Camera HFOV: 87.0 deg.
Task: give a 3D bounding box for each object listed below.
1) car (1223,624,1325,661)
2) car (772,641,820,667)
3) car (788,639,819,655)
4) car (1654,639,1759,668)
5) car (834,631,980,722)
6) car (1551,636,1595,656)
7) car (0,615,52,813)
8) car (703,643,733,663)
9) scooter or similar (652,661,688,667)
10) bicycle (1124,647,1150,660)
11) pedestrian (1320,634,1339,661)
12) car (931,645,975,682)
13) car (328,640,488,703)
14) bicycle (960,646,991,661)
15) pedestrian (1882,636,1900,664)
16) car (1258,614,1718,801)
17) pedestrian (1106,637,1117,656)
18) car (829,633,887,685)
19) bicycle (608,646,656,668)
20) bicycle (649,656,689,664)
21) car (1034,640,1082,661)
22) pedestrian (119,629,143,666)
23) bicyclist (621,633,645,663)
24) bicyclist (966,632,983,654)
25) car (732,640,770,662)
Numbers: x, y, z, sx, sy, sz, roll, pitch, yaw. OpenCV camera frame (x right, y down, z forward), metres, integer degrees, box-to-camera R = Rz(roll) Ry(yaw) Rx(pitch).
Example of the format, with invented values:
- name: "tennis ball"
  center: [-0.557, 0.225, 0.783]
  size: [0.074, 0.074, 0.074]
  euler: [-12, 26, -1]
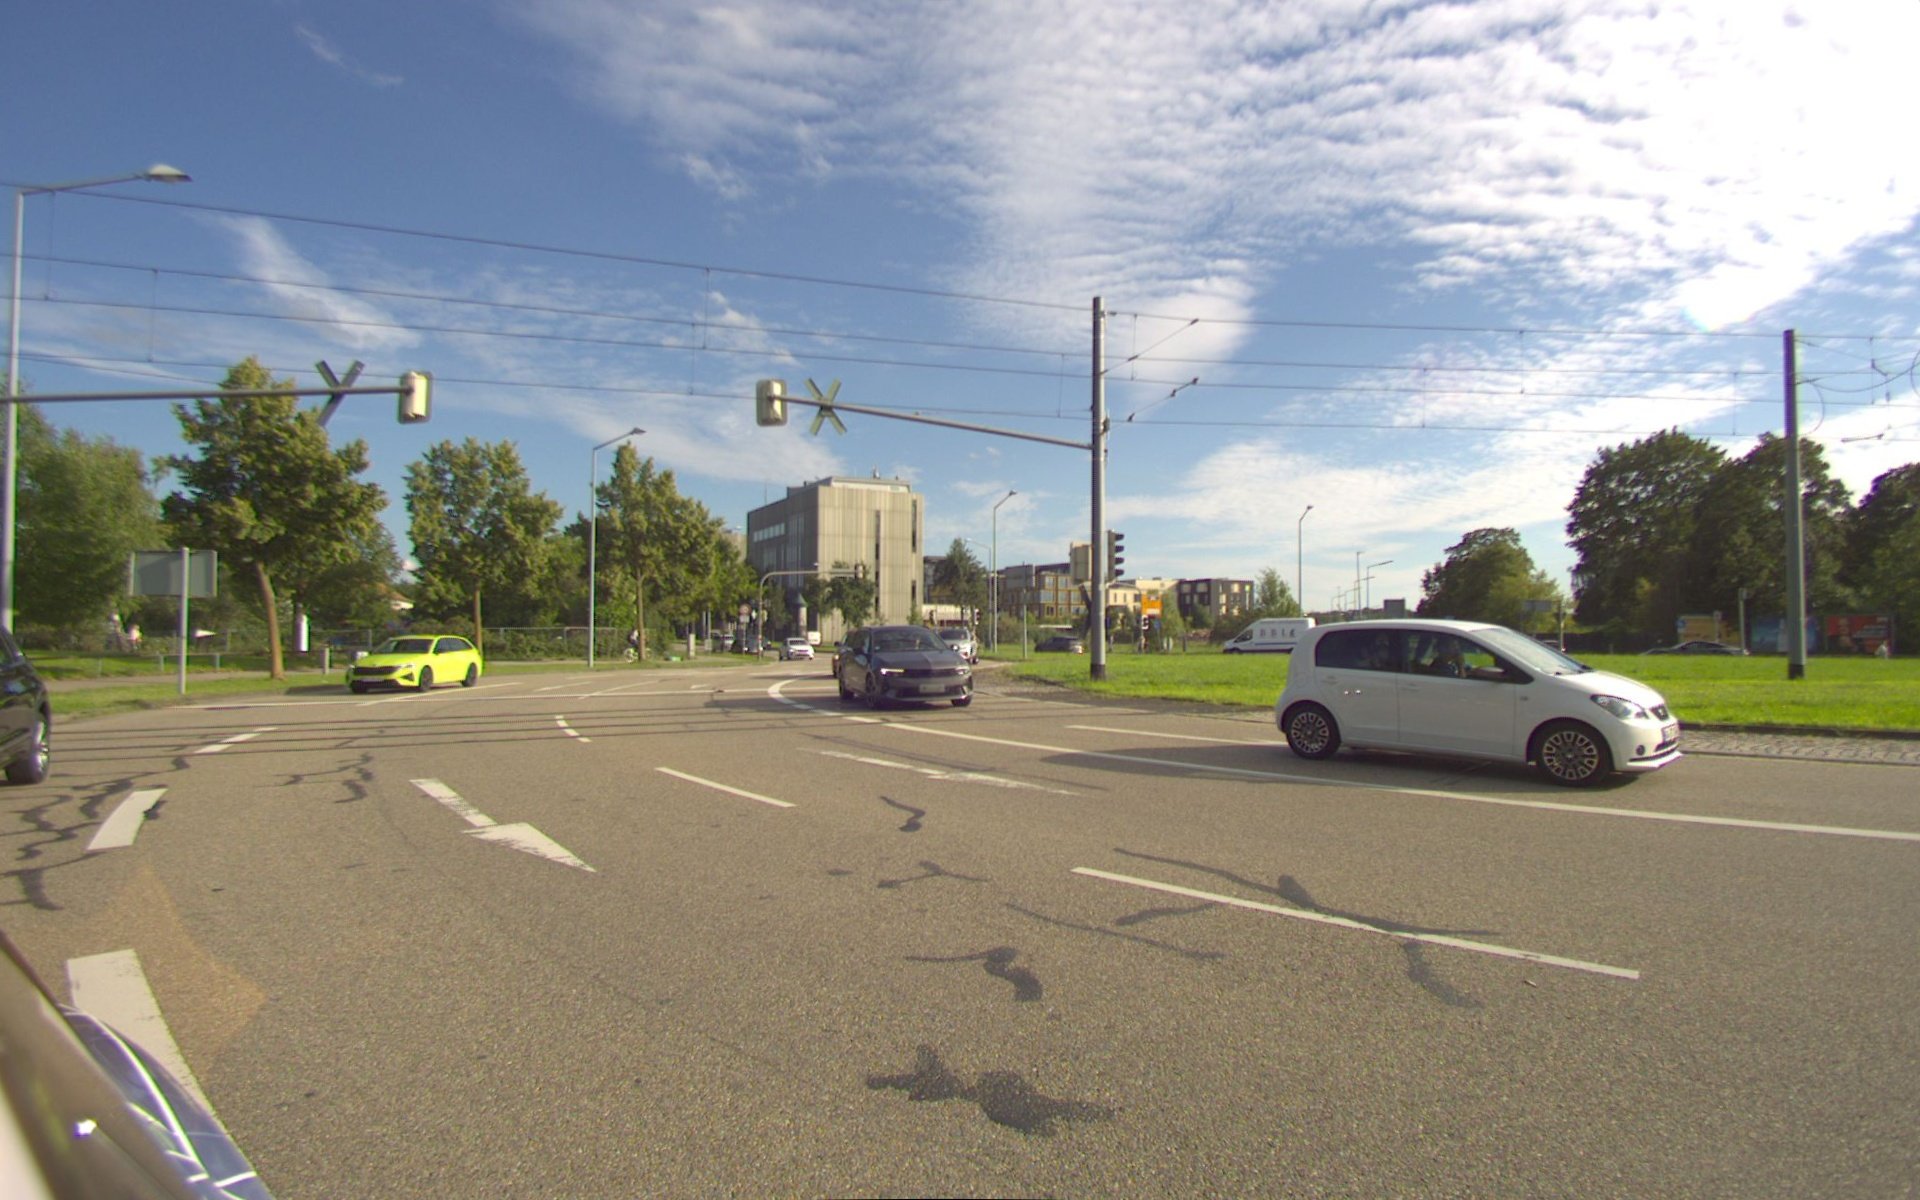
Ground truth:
- name: "car"
  center: [20.288, 2.742, 65.475]
  size: [5.998, 2.281, 2.045]
  euler: [-1, -4, 30]
- name: "car"
  center: [-11.118, 3.589, 68.369]
  size: [1.965, 1.674, 4.819]
  euler: [1, -2, -25]
- name: "car"
  center: [-18.215, 5.462, 117.799]
  size: [1.657, 1.839, 4.573]
  euler: [4, -4, -34]
- name: "car"
  center: [35.627, 2.542, 48.378]
  size: [3.988, 1.275, 1.664]
  euler: [-1, -5, 38]
- name: "car"
  center: [-1.114, 1.309, 18.711]
  size: [1.794, 1.431, 4.459]
  euler: [-1, -2, -15]
- name: "car"
  center: [49.705, 3.709, 82.104]
  size: [1.667, 1.513, 3.982]
  euler: [-1, -1, 9]
- name: "car"
  center: [-8.646, 0.950, 7.595]
  size: [1.841, 1.708, 5.029]
  euler: [1, -2, -32]
- name: "car"
  center: [-22.386, 4.875, 93.619]
  size: [1.965, 1.674, 4.819]
  euler: [1, -2, -22]
- name: "scooter or similar"
  center: [-16.944, 3.738, 59.171]
  size: [1.291, 0.283, 1.534]
  euler: [-2, -3, 37]
- name: "bicycle"
  center: [13.220, 3.995, 75.733]
  size: [1.806, 0.996, 0.613]
  euler: [0, -2, -16]
- name: "pedestrian"
  center: [27.644, 3.554, 75.659]
  size: [0.881, 1.931, 0.869]
  euler: [-2, -1, -18]
- name: "car"
  center: [-0.352, 2.719, 43.546]
  size: [1.670, 1.486, 4.229]
  euler: [-1, -3, -3]
- name: "car"
  center: [-14.458, 1.821, 26.842]
  size: [1.870, 1.431, 4.609]
  euler: [-1, -2, -2]
- name: "bicycle"
  center: [1.080, 3.669, 70.048]
  size: [1.927, 1.015, 1.005]
  euler: [1, -3, -24]
- name: "pedestrian"
  center: [54.760, 2.941, 59.525]
  size: [0.542, 1.637, 0.504]
  euler: [-1, -2, 11]
- name: "car"
  center: [5.072, 0.906, 10.058]
  size: [1.740, 1.475, 3.664]
  euler: [0, -1, -42]
- name: "pedestrian"
  center: [12.749, 3.915, 85.086]
  size: [0.618, 1.642, 0.660]
  euler: [0, -2, -26]
- name: "car"
  center: [-3.133, 1.798, 31.271]
  size: [1.669, 1.486, 4.231]
  euler: [0, -2, -5]
- name: "bicycle"
  center: [-17.410, 3.006, 53.826]
  size: [0.800, 1.134, 2.576]
  euler: [-1, -2, 28]
- name: "bicycle"
  center: [-17.821, 3.666, 62.014]
  size: [2.240, 0.349, 1.080]
  euler: [-4, -4, 28]
- name: "car"
  center: [7.477, 3.848, 77.558]
  size: [1.657, 1.513, 4.006]
  euler: [4, -4, -31]
- name: "pedestrian"
  center: [-39.715, 2.280, 48.495]
  size: [0.588, 1.745, 0.668]
  euler: [0, -2, -6]
- name: "bicyclist"
  center: [-17.395, 2.544, 53.868]
  size: [0.800, 1.559, 0.896]
  euler: [-1, -2, 28]
- name: "bicyclist"
  center: [0.996, 2.978, 70.046]
  size: [0.851, 1.568, 1.001]
  euler: [1, -3, -24]
- name: "car"
  center: [-16.638, 4.045, 80.491]
  size: [1.965, 1.674, 4.819]
  euler: [1, -2, -24]
